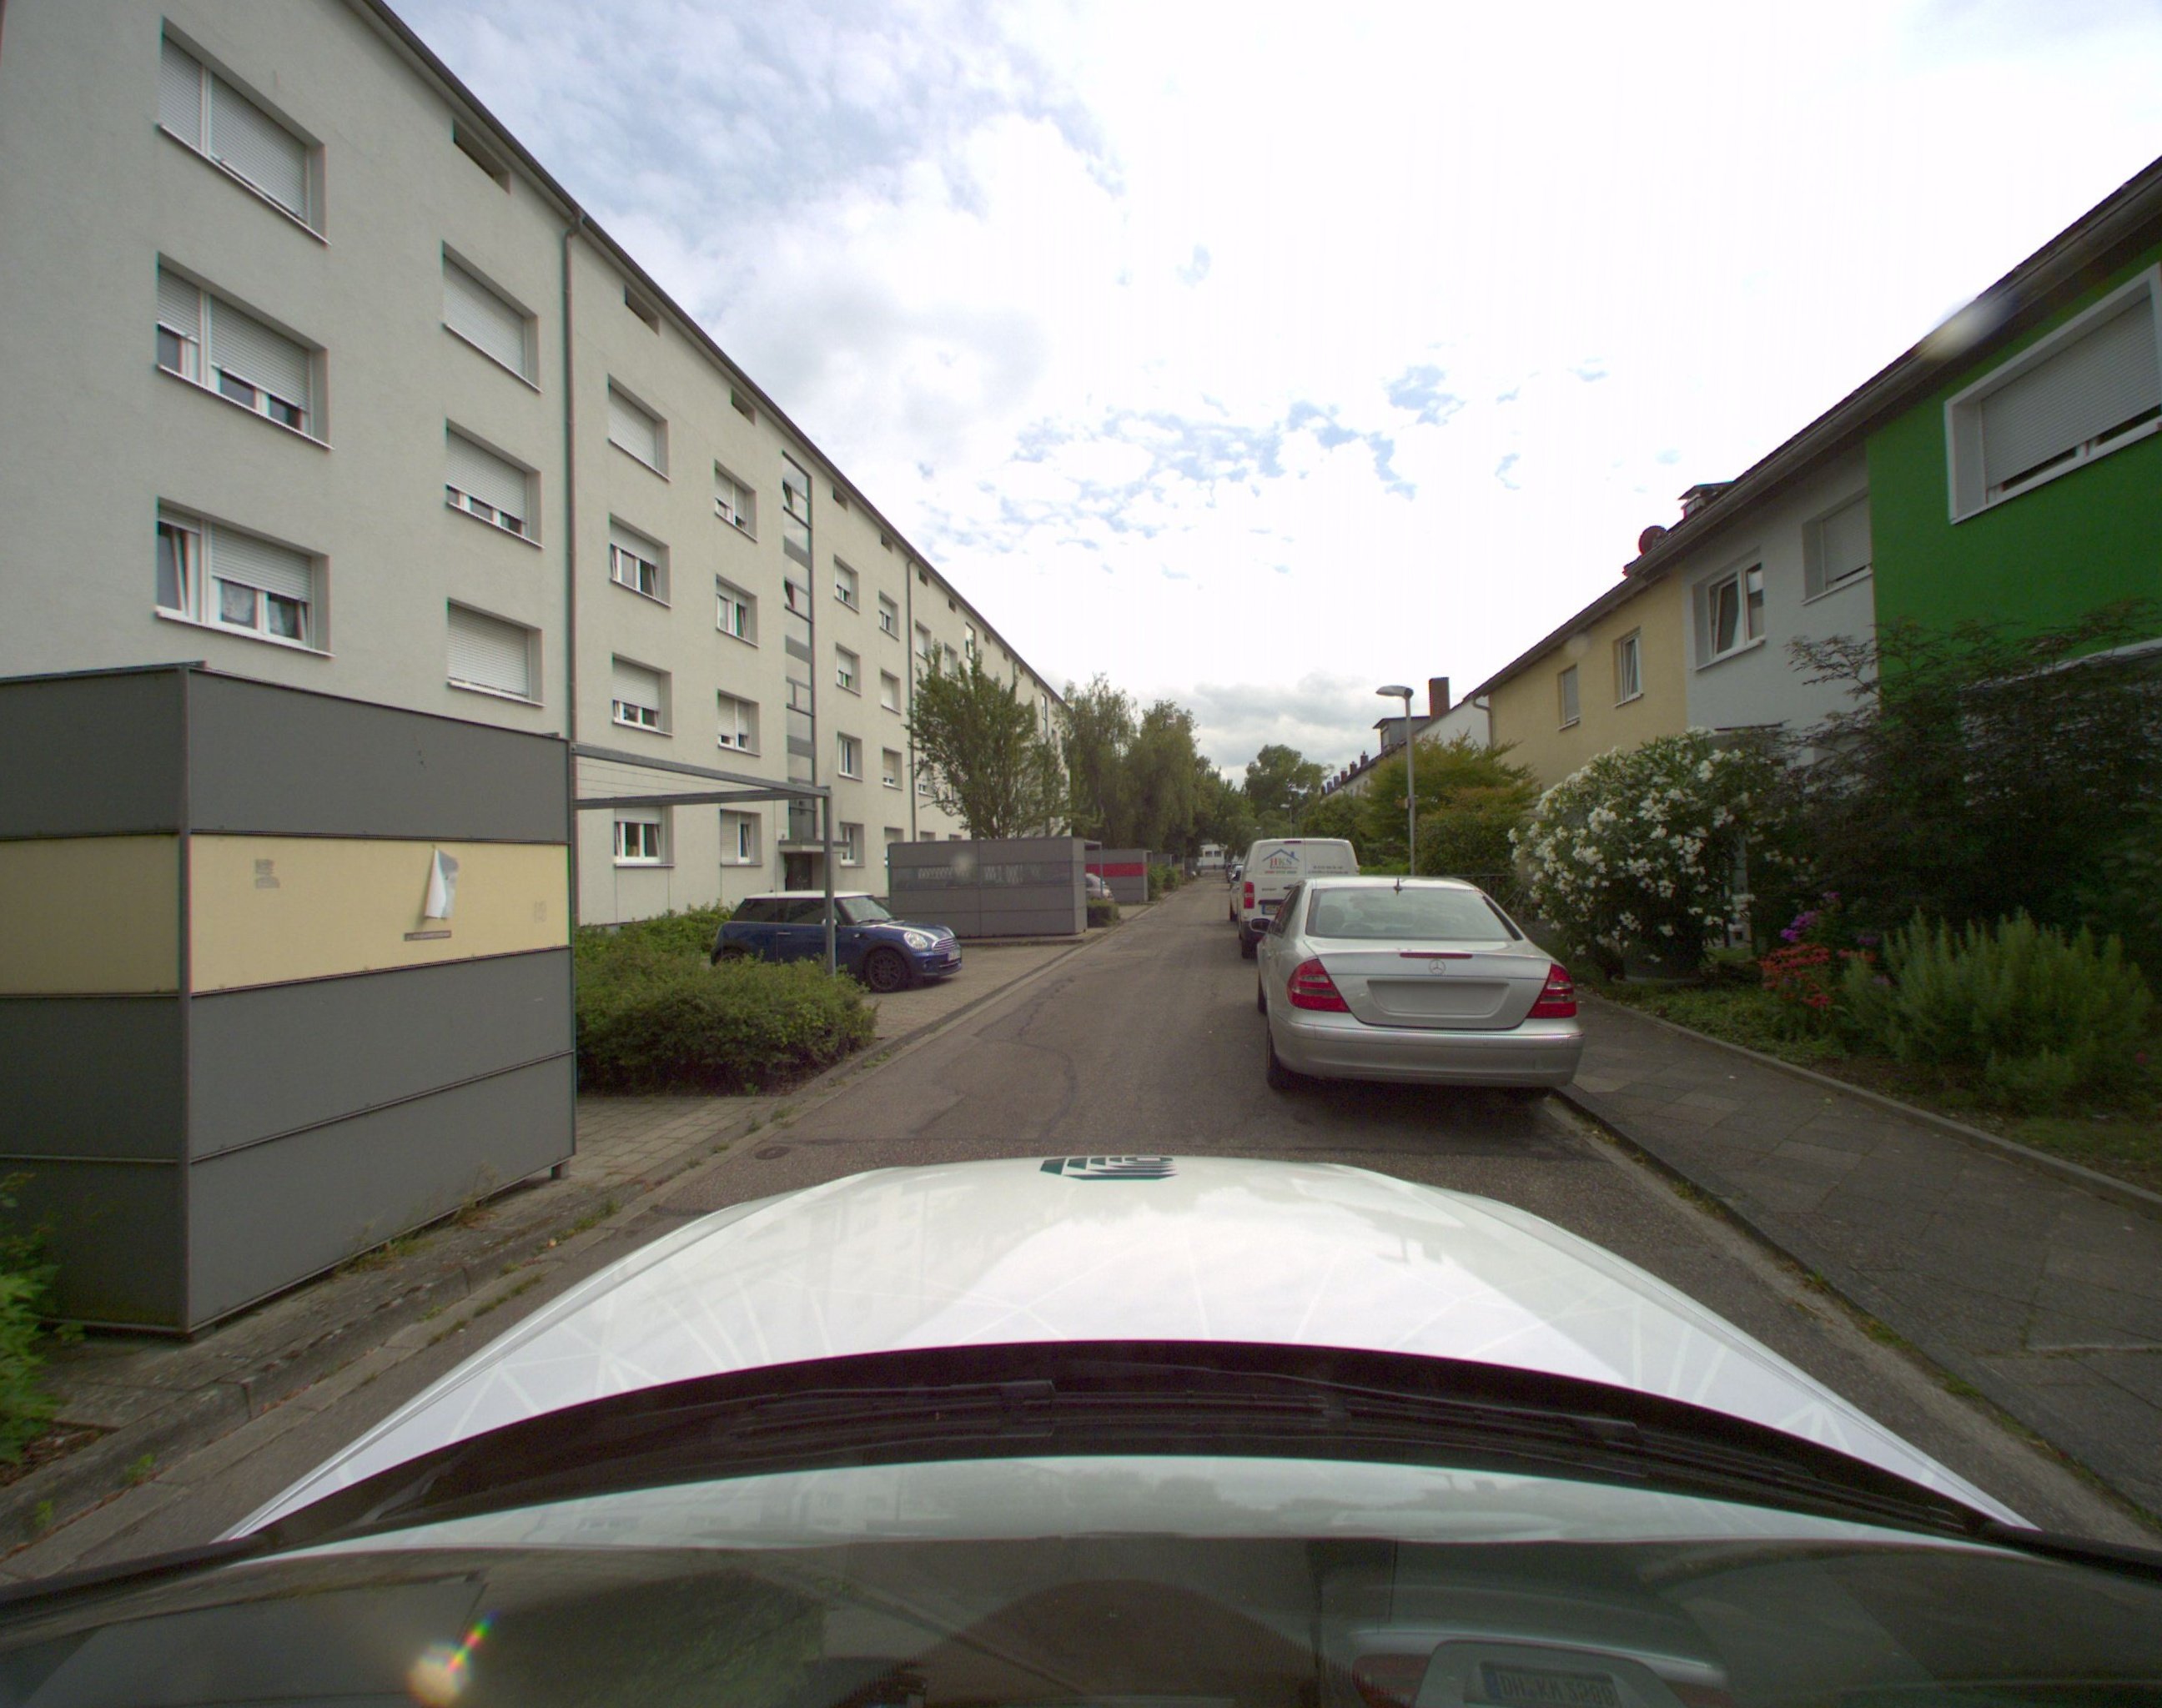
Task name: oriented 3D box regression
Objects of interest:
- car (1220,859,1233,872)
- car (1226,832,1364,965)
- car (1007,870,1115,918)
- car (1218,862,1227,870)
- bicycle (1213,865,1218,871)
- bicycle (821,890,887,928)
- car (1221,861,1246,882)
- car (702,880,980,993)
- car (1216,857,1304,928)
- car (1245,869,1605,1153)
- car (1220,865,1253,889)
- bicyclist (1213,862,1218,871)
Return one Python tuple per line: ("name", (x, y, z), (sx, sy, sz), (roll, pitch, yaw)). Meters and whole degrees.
("car", (21.872, 1.727, 122.247), (1.814, 1.883, 4.011), (0, -1, 10))
("car", (3.664, 0.704, 14.840), (1.892, 1.964, 5.266), (-1, -1, 9))
("car", (-0.666, 1.393, 28.891), (3.545, 1.481, 1.713), (-3, -1, 5))
("car", (28.326, 2.410, 162.862), (1.814, 1.581, 4.011), (0, -1, 10))
("bicycle", (24.675, 2.606, 149.392), (0.684, 1.131, 2.587), (0, -1, 12))
("bicycle", (-6.806, 1.629, 24.442), (1.817, 1.024, 0.474), (-1, -1, -32))
("car", (12.357, 1.394, 66.093), (1.815, 1.581, 4.009), (0, -1, 8))
("car", (-3.571, 1.223, 12.343), (3.610, 1.461, 1.658), (-3, -1, 12))
("car", (4.496, 0.927, 21.004), (1.815, 1.636, 4.169), (-1, -1, 7))
("car", (2.229, 0.850, 6.517), (1.772, 1.421, 4.469), (-1, -1, 11))
("car", (9.044, 1.306, 47.573), (1.814, 1.370, 4.343), (0, -1, 10))
("bicyclist", (24.652, 2.281, 149.413), (0.793, 1.511, 0.937), (0, -1, 11))
